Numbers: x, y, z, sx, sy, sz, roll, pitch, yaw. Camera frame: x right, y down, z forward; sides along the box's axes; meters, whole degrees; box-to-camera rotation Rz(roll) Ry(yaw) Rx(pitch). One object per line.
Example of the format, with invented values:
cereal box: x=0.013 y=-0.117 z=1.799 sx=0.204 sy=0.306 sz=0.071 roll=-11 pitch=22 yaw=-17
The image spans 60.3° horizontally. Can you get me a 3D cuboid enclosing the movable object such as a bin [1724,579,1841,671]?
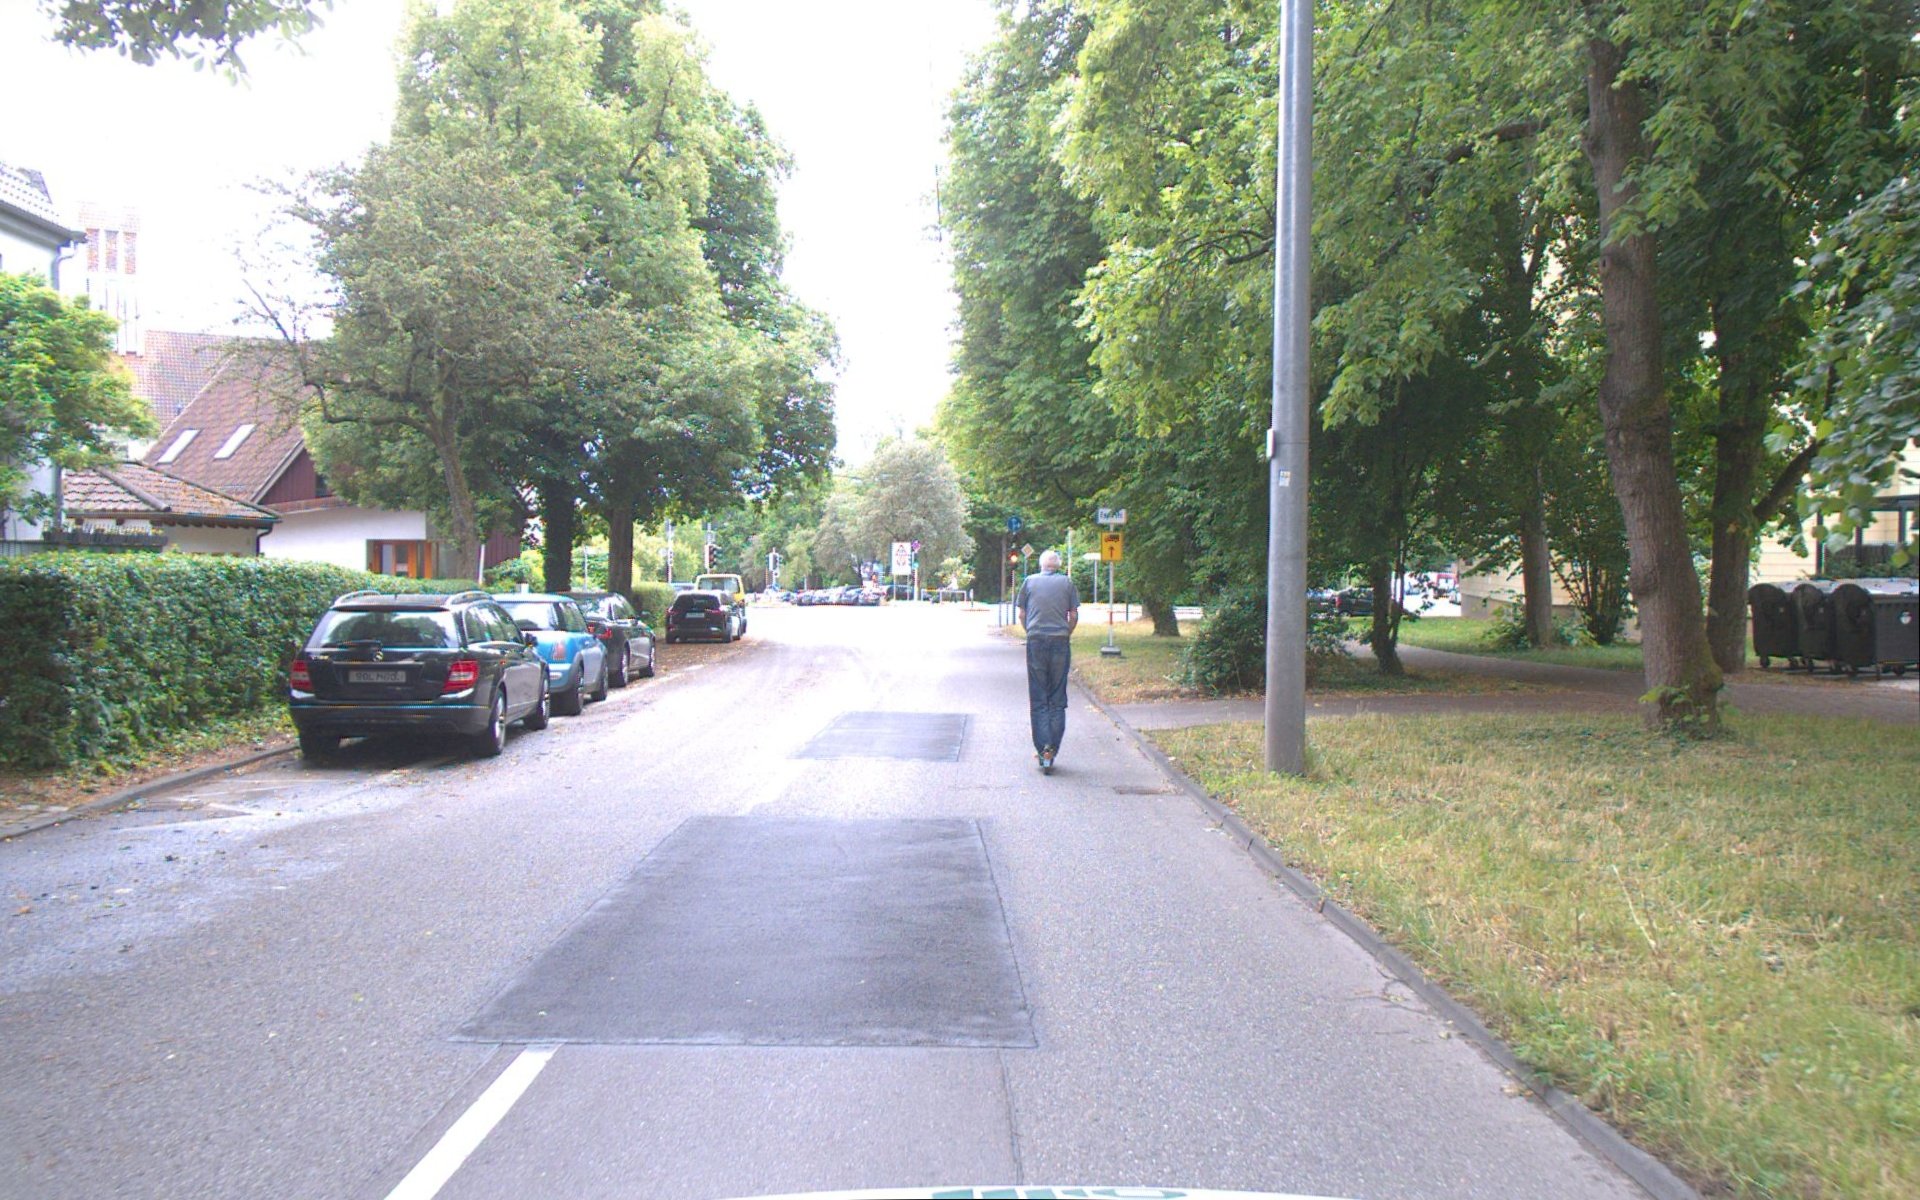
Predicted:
movable object such as a bin: x=14.161 y=0.412 z=28.508 sx=1.301 sy=1.527 sz=1.313 roll=-1 pitch=0 yaw=-6

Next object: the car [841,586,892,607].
car: x=-7.254 y=-0.264 z=128.004 sx=3.910 sy=1.537 sz=1.798 roll=-1 pitch=0 yaw=-6

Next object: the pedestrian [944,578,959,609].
pedestrian: x=-0.477 y=-0.362 z=95.357 sx=0.716 sy=1.792 sz=0.662 roll=0 pitch=0 yaw=16

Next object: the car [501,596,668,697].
car: x=-5.856 y=0.672 z=26.318 sx=1.758 sy=1.435 sz=4.642 roll=-1 pitch=0 yaw=-2

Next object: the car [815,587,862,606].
car: x=-10.292 y=-0.293 z=140.443 sx=3.910 sy=1.537 sz=1.798 roll=-1 pitch=0 yaw=-6

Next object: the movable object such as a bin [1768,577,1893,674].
movable object such as a bin: x=14.285 y=0.409 z=27.175 sx=1.301 sy=1.527 sz=1.313 roll=-1 pitch=0 yaw=-6

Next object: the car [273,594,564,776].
car: x=-5.078 y=0.701 z=16.120 sx=1.759 sy=1.498 sz=4.413 roll=-1 pitch=0 yaw=-6

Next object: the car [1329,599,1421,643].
car: x=19.295 y=0.948 z=76.921 sx=3.906 sy=1.756 sz=1.800 roll=2 pitch=3 yaw=22

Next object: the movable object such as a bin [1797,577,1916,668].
movable object such as a bin: x=15.554 y=0.376 z=28.733 sx=1.301 sy=1.527 sz=1.313 roll=-1 pitch=0 yaw=-6

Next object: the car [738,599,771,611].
car: x=-25.462 y=0.617 z=204.963 sx=3.910 sy=1.537 sz=1.798 roll=-1 pitch=0 yaw=-6

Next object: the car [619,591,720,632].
car: x=-11.502 y=0.447 z=65.673 sx=3.913 sy=1.536 sz=1.797 roll=0 pitch=2 yaw=-9

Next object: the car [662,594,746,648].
car: x=-7.186 y=0.580 z=46.735 sx=1.854 sy=1.435 sz=4.551 roll=-1 pitch=0 yaw=-3

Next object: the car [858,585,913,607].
car: x=-5.447 y=-0.271 z=121.272 sx=3.910 sy=1.537 sz=1.798 roll=-1 pitch=0 yaw=-6

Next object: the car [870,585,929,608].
car: x=-4.186 y=-0.215 z=114.206 sx=3.910 sy=1.537 sz=1.798 roll=-1 pitch=0 yaw=-6

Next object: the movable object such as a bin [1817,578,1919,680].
movable object such as a bin: x=14.408 y=0.436 z=25.837 sx=1.301 sy=1.527 sz=1.313 roll=-1 pitch=0 yaw=-6

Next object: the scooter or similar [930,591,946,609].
scooter or similar: x=-1.267 y=-0.002 z=95.478 sx=0.695 sy=1.067 sz=0.788 roll=0 pitch=0 yaw=16

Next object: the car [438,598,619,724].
car: x=-5.365 y=0.698 z=20.985 sx=1.632 sy=1.416 sz=3.702 roll=-1 pitch=0 yaw=-5

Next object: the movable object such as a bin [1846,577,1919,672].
movable object such as a bin: x=15.702 y=0.389 z=27.387 sx=1.301 sy=1.527 sz=1.313 roll=-1 pitch=0 yaw=-6

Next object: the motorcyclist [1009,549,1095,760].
motorcyclist: x=0.798 y=0.466 z=14.514 sx=0.659 sy=1.792 sz=0.638 roll=1 pitch=0 yaw=-2

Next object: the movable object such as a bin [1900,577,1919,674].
movable object such as a bin: x=15.828 y=0.395 z=25.988 sx=1.301 sy=1.527 sz=1.313 roll=-1 pitch=0 yaw=-6

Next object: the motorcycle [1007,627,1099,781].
motorcycle: x=0.791 y=0.878 z=14.378 sx=0.659 sy=1.239 sz=1.273 roll=1 pitch=0 yaw=-2

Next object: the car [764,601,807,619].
car: x=-16.305 y=0.925 z=154.508 sx=3.910 sy=1.537 sz=1.798 roll=-1 pitch=0 yaw=-6

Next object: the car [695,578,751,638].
car: x=-8.274 y=0.270 z=57.726 sx=1.823 sy=1.998 sz=4.495 roll=-1 pitch=0 yaw=-9
